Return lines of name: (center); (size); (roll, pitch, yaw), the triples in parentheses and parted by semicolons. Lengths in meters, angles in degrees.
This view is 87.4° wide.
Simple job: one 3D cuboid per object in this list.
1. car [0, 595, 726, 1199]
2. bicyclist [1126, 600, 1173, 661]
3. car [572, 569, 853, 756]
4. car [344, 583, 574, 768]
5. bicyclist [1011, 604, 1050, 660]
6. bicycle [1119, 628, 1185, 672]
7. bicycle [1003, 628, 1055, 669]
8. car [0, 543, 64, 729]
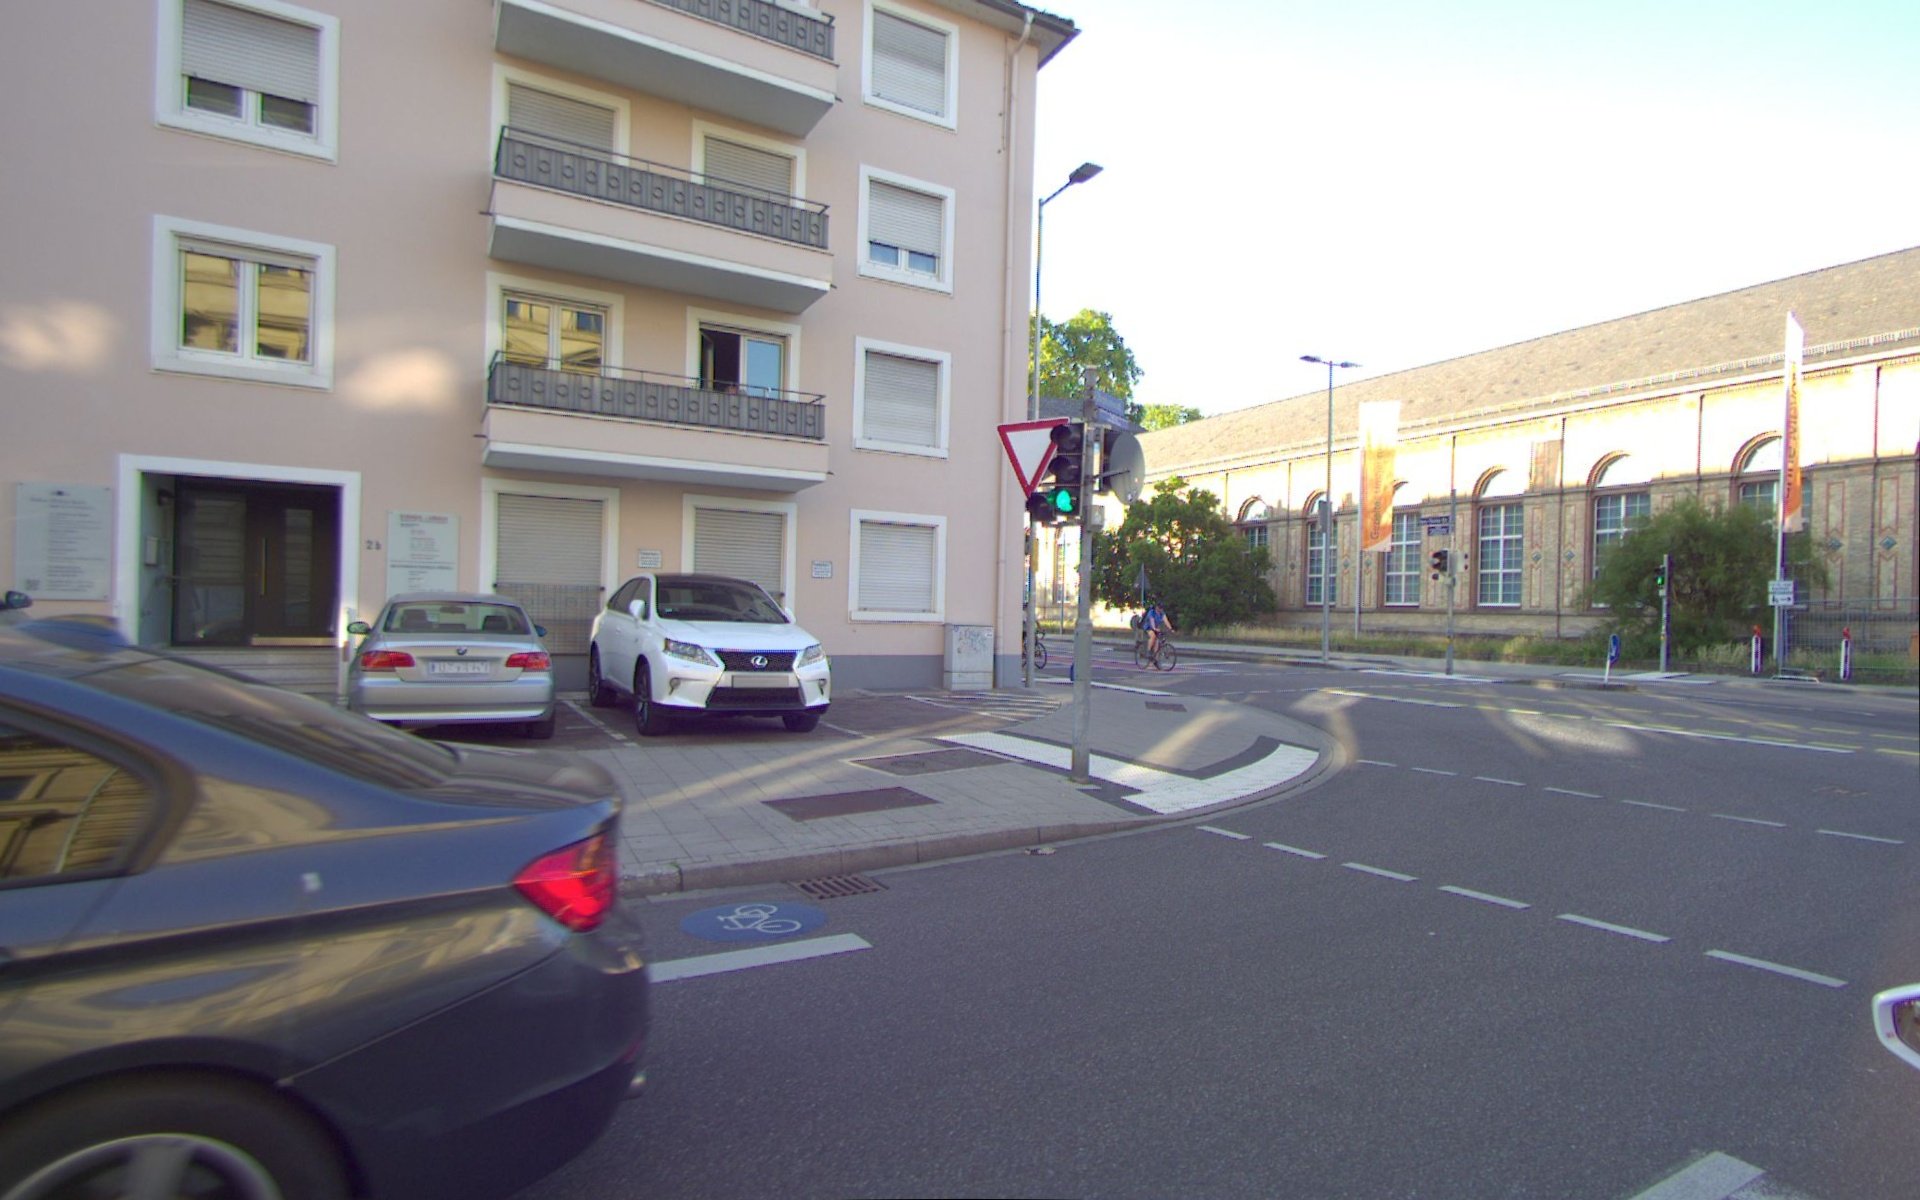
car: (-2.848, 0.710, 1.861); (4.372, 1.478, 1.773); (2, -2, -31)
bicyclist: (4.997, 0.797, 26.589); (0.703, 1.565, 1.119); (1, 0, -23)
car: (-3.040, 0.538, 11.538); (1.920, 1.663, 4.417); (1, 1, -31)
car: (-5.265, 0.596, 10.324); (1.716, 1.399, 4.244); (1, 1, -31)
bicyclist: (1.879, 0.846, 26.868); (0.703, 1.459, 0.889); (1, 0, -23)
bicycle: (5.041, 1.296, 26.476); (0.713, 1.082, 1.990); (1, 0, -22)
bicycle: (1.844, 1.279, 26.927); (0.713, 1.024, 1.680); (1, 0, -22)
car: (-9.132, 0.300, 8.186); (1.894, 1.627, 4.395); (1, 1, -31)
